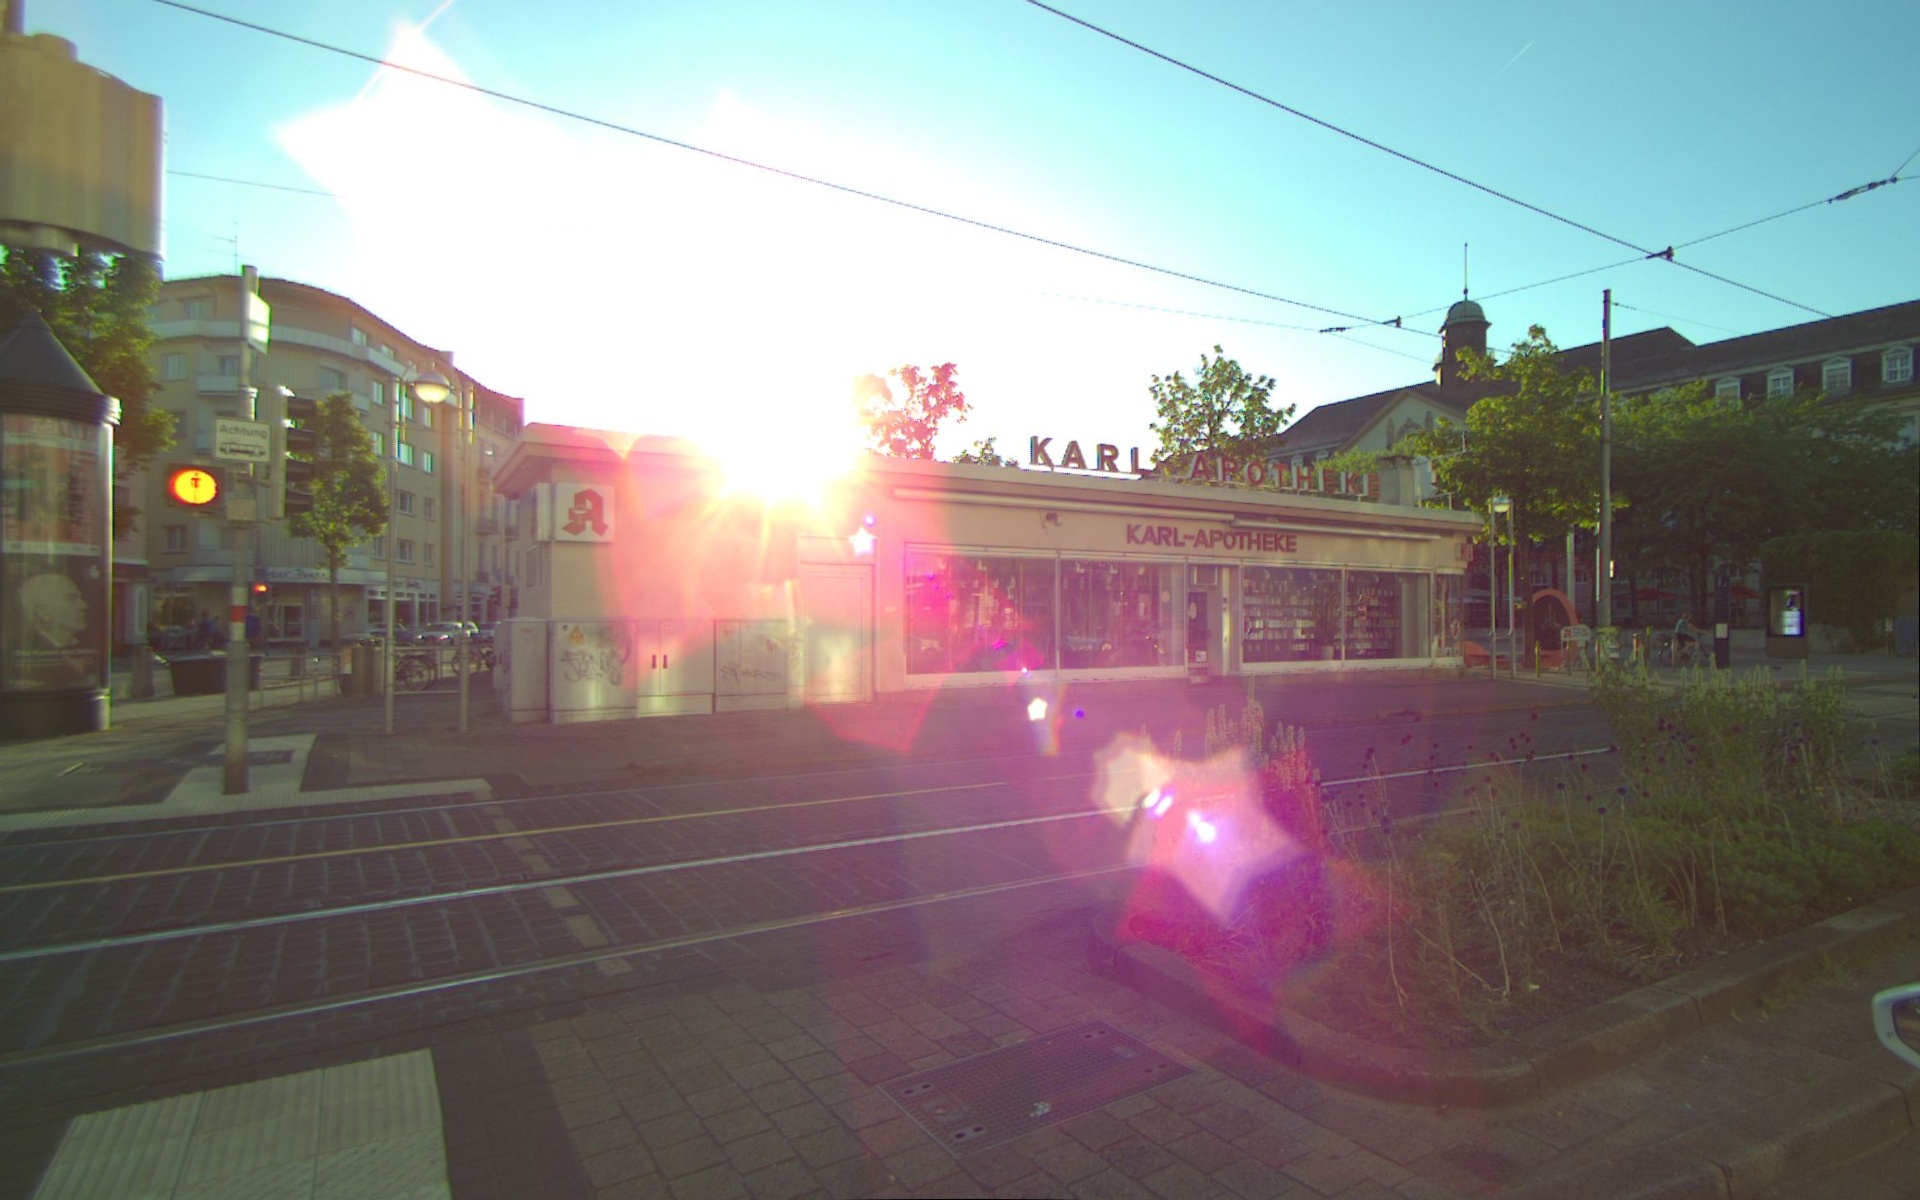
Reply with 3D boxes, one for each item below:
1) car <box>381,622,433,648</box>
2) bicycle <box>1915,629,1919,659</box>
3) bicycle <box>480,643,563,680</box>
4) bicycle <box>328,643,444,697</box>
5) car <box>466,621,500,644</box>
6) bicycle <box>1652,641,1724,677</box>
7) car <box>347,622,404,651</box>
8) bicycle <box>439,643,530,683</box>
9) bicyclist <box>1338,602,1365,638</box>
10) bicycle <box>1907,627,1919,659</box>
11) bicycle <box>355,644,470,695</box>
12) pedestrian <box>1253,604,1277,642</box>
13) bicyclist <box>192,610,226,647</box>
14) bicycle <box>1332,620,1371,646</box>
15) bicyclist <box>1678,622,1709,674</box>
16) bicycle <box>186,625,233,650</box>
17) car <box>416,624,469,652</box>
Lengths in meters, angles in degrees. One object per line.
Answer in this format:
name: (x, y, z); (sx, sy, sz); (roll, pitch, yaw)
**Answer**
car: (-32.498, 2.067, 59.144); (1.521, 1.488, 3.349); (0, -2, -7)
bicycle: (41.897, 1.881, 42.386); (0.573, 1.271, 2.231); (2, -2, -30)
bicycle: (-11.926, 1.669, 27.319); (2.004, 0.989, 0.560); (0, -2, 1)
bicycle: (-11.427, 1.391, 20.026); (1.986, 1.058, 0.560); (0, -2, 1)
car: (-33.610, 2.289, 70.765); (1.287, 1.603, 2.886); (0, -2, -7)
bicycle: (24.425, 1.974, 33.723); (1.898, 1.126, 0.461); (0, -2, 19)
car: (-32.264, 1.982, 55.507); (1.521, 1.503, 3.348); (-1, -1, -7)
bicycle: (-12.181, 1.608, 25.748); (2.043, 0.995, 0.560); (0, -2, 1)
bicyclist: (22.980, 1.173, 58.973); (1.130, 2.045, 0.954); (2, -2, -32)
bicycle: (40.667, 1.797, 41.498); (0.573, 1.317, 2.187); (2, -2, -30)
bicycle: (-11.531, 1.460, 21.176); (2.111, 1.057, 0.560); (0, -2, 1)
pedestrian: (16.780, 1.260, 55.292); (0.922, 2.088, 0.931); (0, 0, -36)
bicyclist: (-37.634, 1.411, 50.342); (1.110, 1.814, 0.765); (1, -2, 9)
bicycle: (22.978, 1.946, 58.952); (0.573, 1.495, 2.230); (1, -2, -31)
bicyclist: (24.588, 1.601, 33.689); (0.691, 1.690, 0.628); (1, -2, 19)
bicycle: (-37.622, 1.868, 50.342); (2.081, 1.219, 0.501); (1, -2, 8)
car: (-28.490, 2.092, 55.356); (1.521, 1.487, 3.349); (0, -2, -7)
